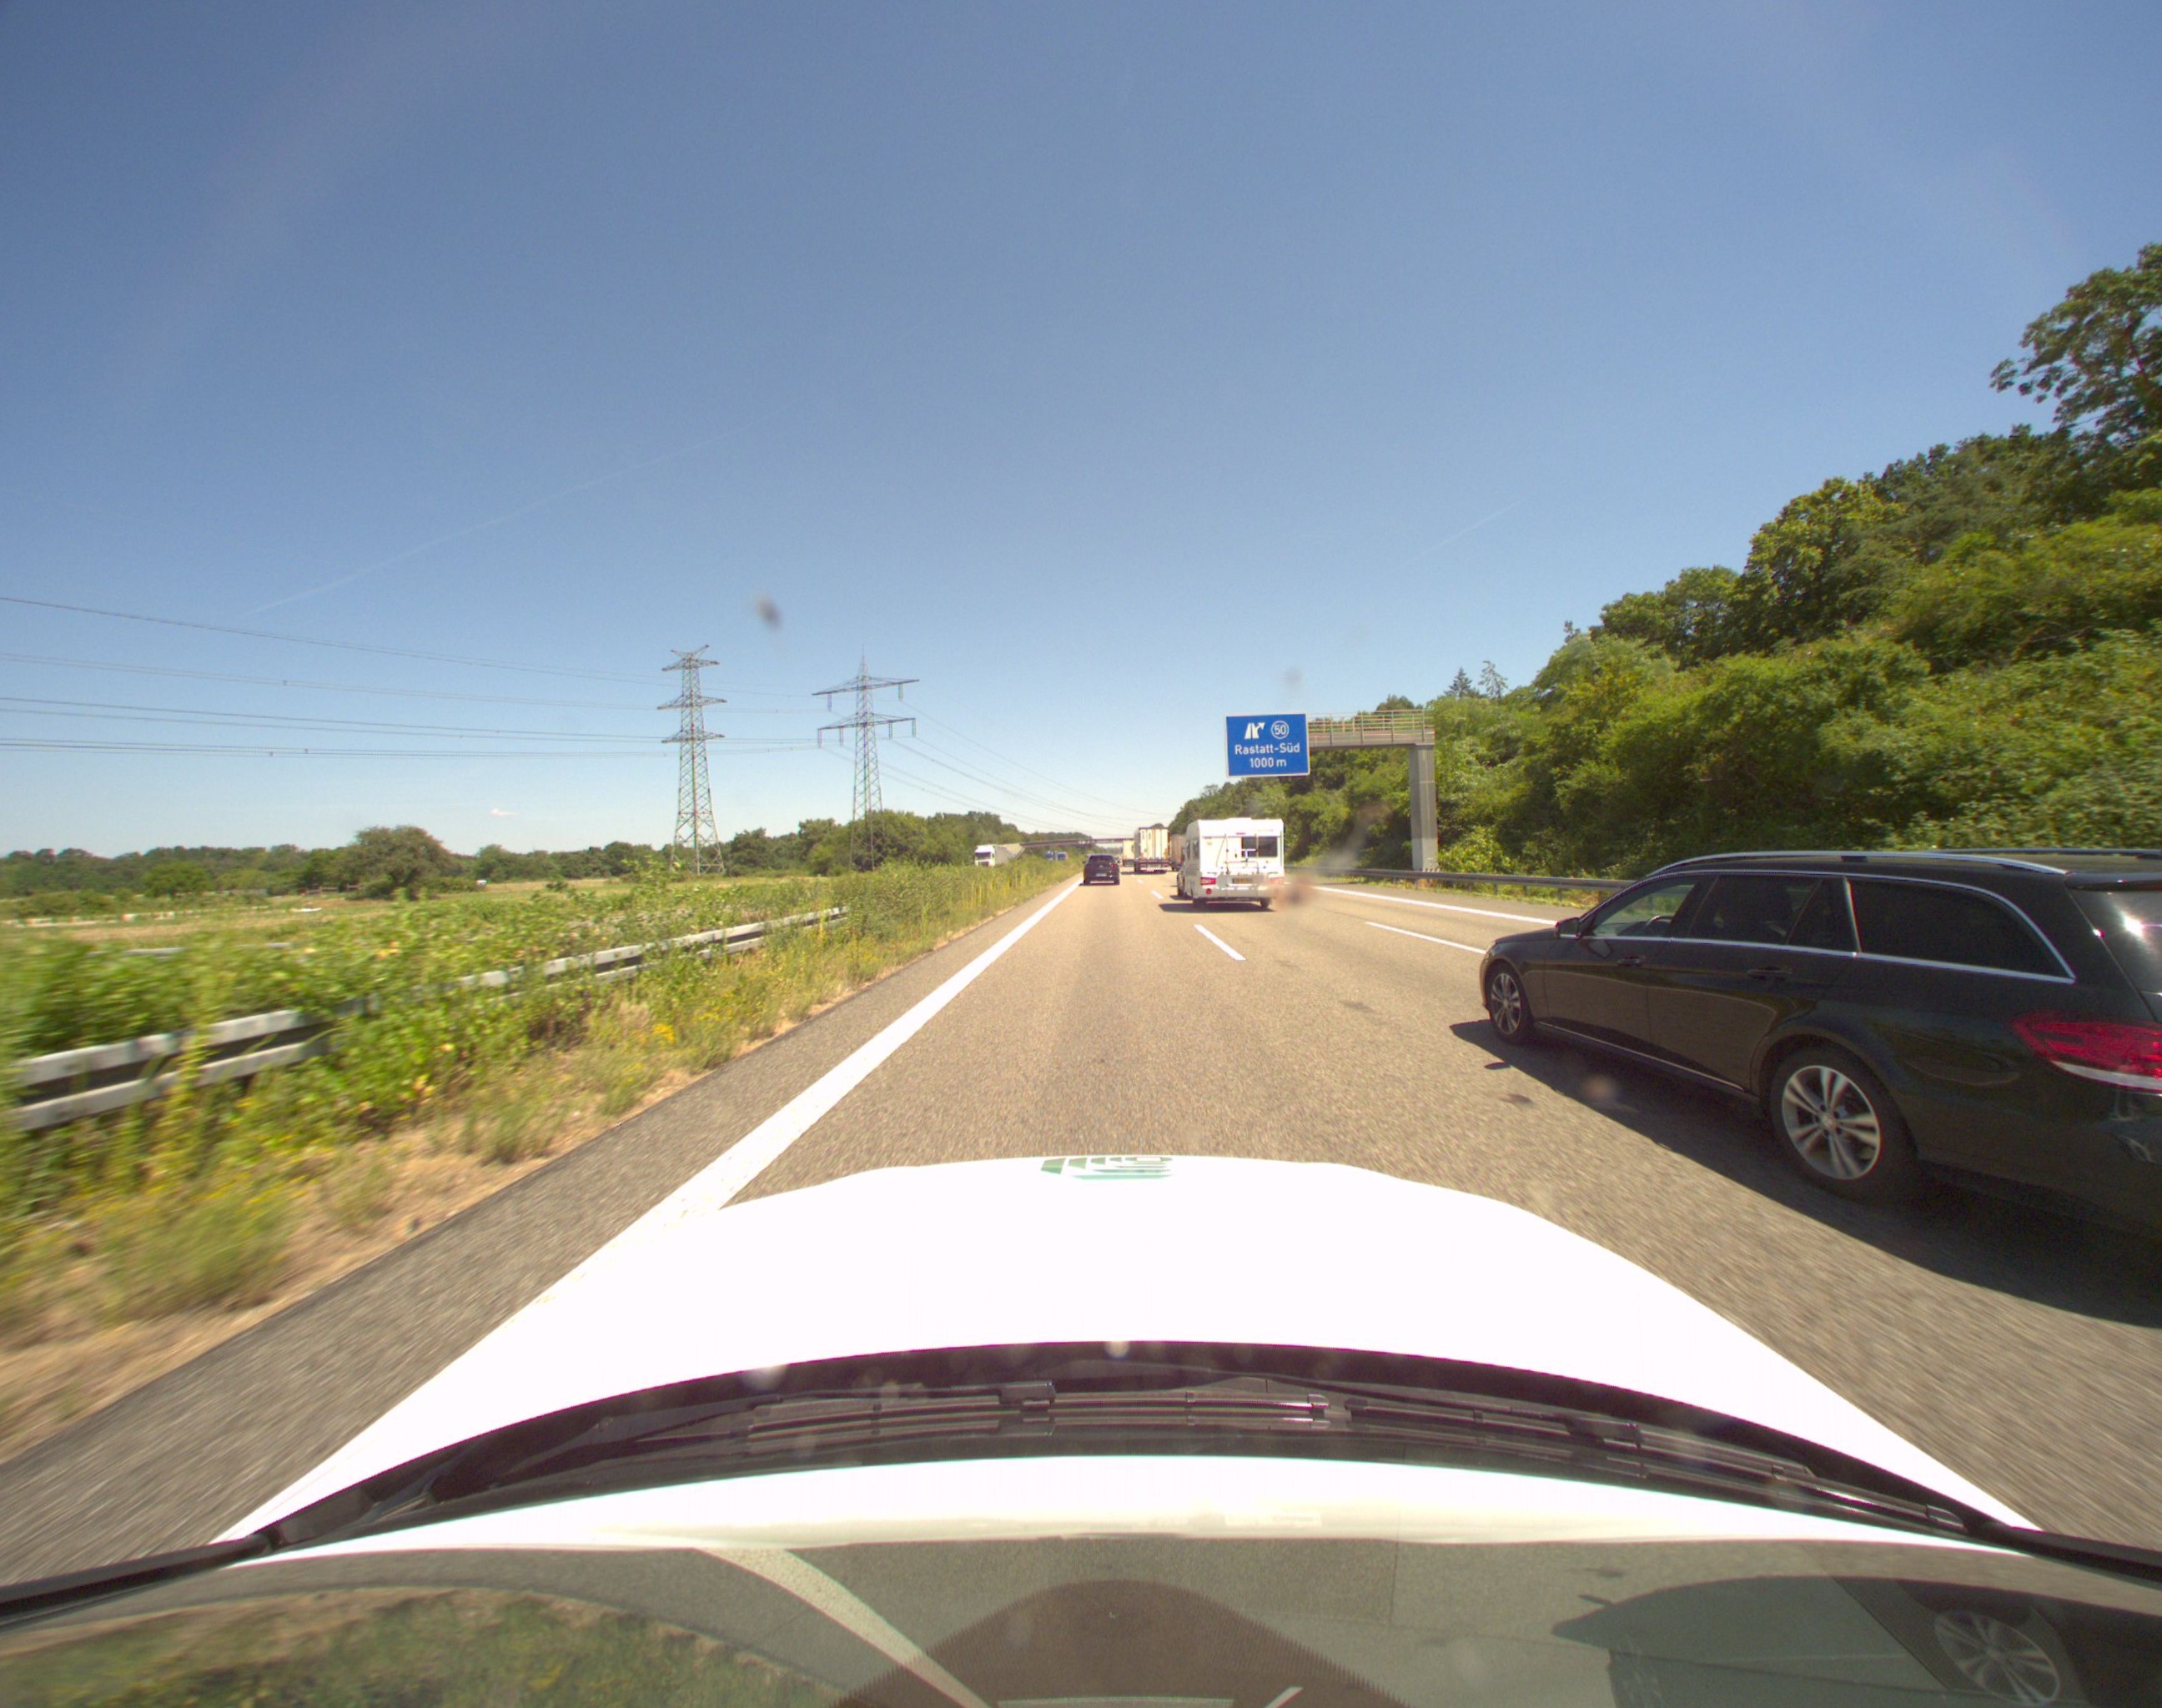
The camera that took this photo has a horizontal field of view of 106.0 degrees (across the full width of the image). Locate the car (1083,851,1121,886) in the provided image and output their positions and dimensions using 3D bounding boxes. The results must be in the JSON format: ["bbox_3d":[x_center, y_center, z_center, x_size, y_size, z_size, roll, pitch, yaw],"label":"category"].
[{"bbox_3d":[1.148,0.760,45.274,1.986,1.772,4.001,-2,0,1],"label":"car"}]

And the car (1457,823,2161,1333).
[{"bbox_3d":[4.157,0.666,4.769,1.834,1.505,4.739,-1,-1,2],"label":"car"}]

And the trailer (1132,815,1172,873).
[{"bbox_3d":[6.408,-0.763,74.832,3.075,4.885,12.264,0,-1,2],"label":"trailer"}]

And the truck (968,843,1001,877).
[{"bbox_3d":[-13.683,0.851,116.028,3.354,4.408,6.560,-3,0,3],"label":"truck"}]

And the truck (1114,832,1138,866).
[{"bbox_3d":[6.914,-0.742,127.141,3.498,5.166,10.263,-1,0,2],"label":"truck"}]

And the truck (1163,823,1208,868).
[{"bbox_3d":[10.598,-0.753,83.910,3.557,4.245,11.657,0,-1,2],"label":"truck"}]

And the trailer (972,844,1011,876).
[{"bbox_3d":[-13.365,0.851,122.770,3.355,4.408,14.329,-4,0,3],"label":"trailer"}]

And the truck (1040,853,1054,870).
[{"bbox_3d":[-9.287,2.136,224.255,3.076,4.407,6.804,-4,0,2],"label":"truck"}]

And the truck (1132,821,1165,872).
[{"bbox_3d":[6.727,-0.699,82.110,3.075,4.885,6.601,0,-1,2],"label":"truck"}]

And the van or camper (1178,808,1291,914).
[{"bbox_3d":[4.345,0.180,24.277,2.429,2.675,6.354,-2,0,3],"label":"van or camper"}]

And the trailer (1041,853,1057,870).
[{"bbox_3d":[-9.003,2.140,231.387,3.076,4.407,14.239,-4,0,2],"label":"trailer"}]

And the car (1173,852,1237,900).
[{"bbox_3d":[4.455,0.744,29.849,1.871,1.612,4.706,0,0,3],"label":"car"}]
